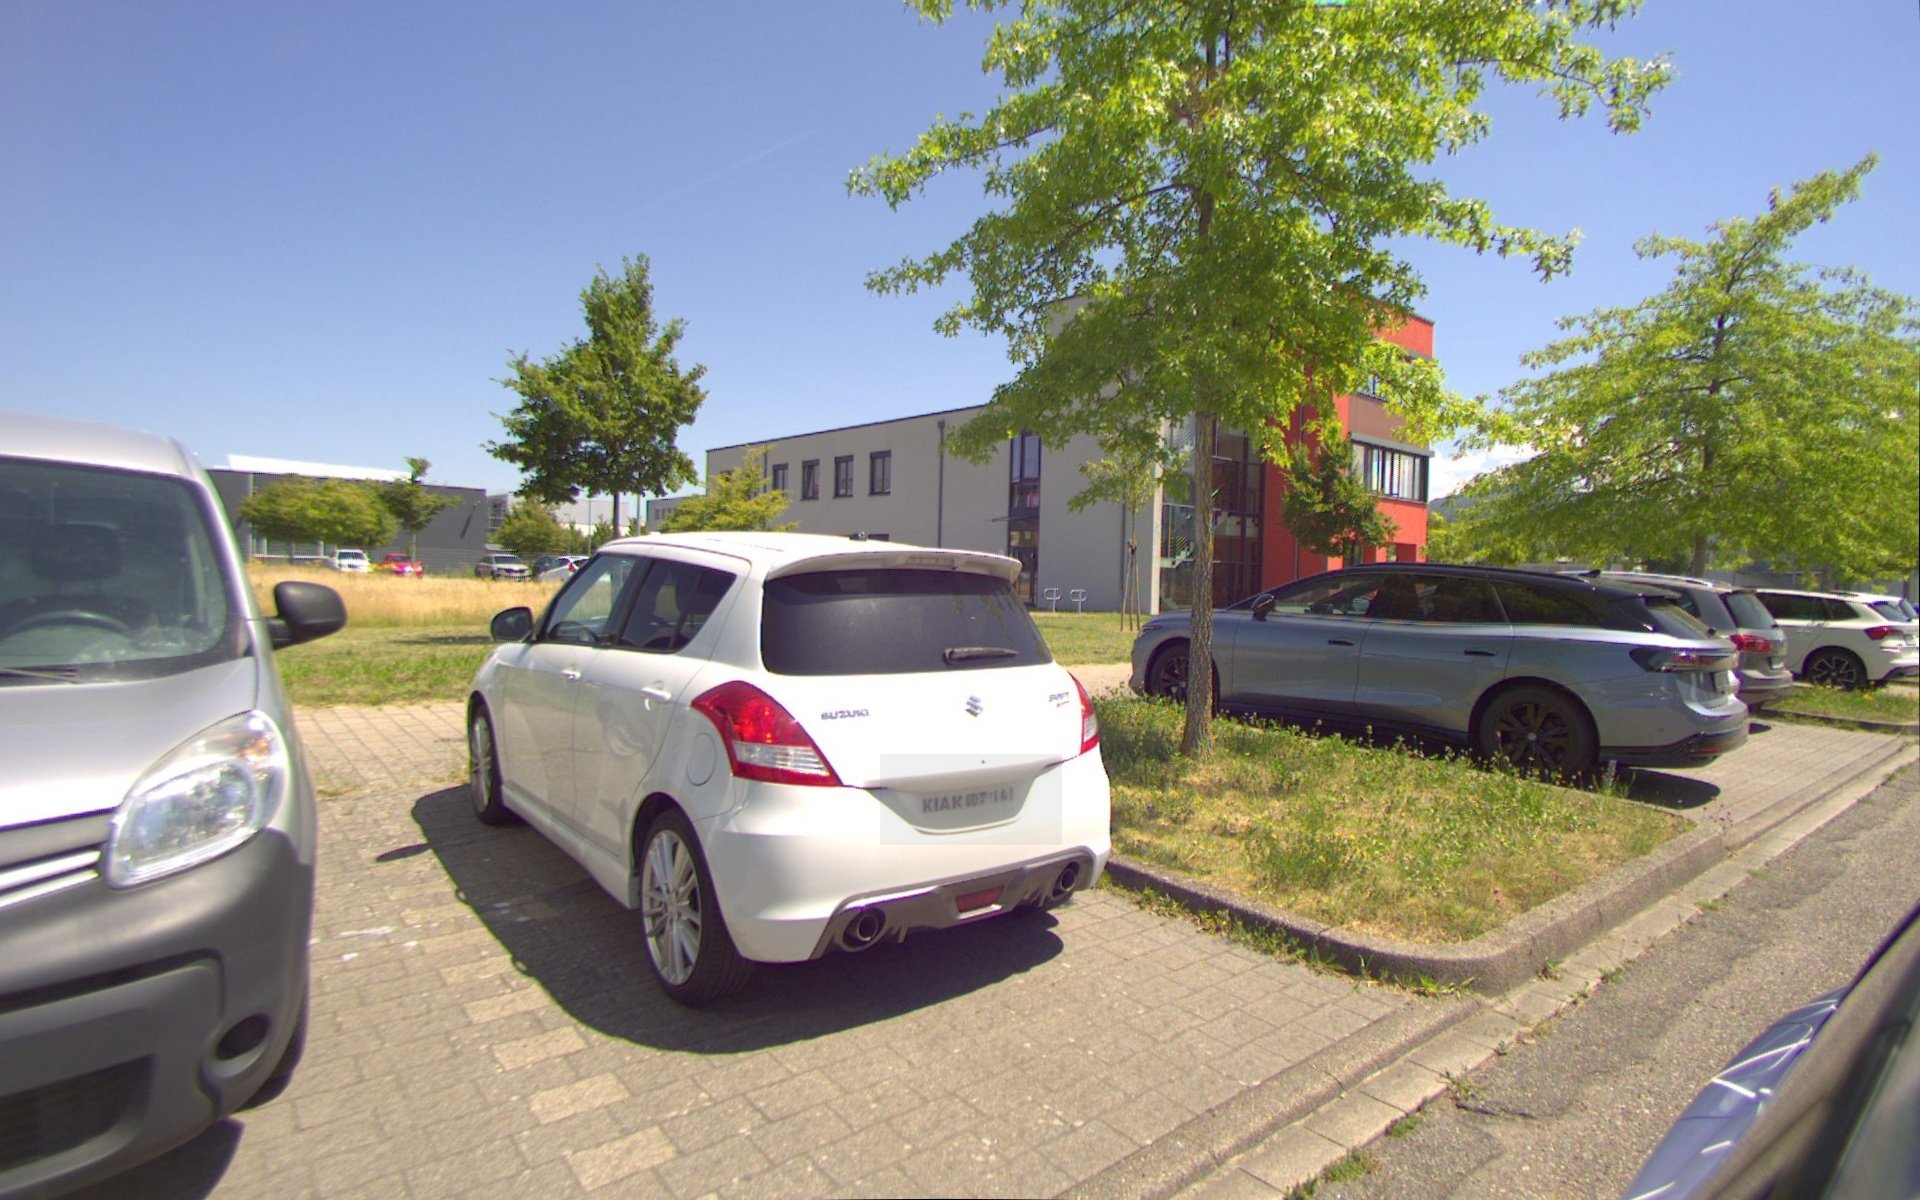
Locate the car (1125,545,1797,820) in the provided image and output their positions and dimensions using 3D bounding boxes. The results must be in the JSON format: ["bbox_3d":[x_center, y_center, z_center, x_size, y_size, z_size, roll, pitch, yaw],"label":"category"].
[{"bbox_3d":[3.892,0.413,8.602,1.881,1.579,4.723,0,4,-43],"label":"car"}]

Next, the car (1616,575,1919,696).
[{"bbox_3d":[12.980,0.470,16.090,1.745,1.572,3.849,2,2,-35],"label":"car"}]

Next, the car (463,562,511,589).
[{"bbox_3d":[-28.637,-1.511,61.235,1.688,1.528,3.997,0,2,-40],"label":"car"}]

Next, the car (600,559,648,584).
[{"bbox_3d":[-22.321,-1.873,67.089,1.688,1.528,3.997,0,2,-40],"label":"car"}]

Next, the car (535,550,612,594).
[{"bbox_3d":[-14.258,-1.041,37.271,1.688,1.528,3.331,0,2,-40],"label":"car"}]

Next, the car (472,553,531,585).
[{"bbox_3d":[-23.415,-1.583,51.662,1.689,1.528,3.995,0,2,-41],"label":"car"}]

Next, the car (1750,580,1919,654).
[{"bbox_3d":[22.433,0.423,25.153,1.695,1.508,4.011,1,4,-36],"label":"car"}]

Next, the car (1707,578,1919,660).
[{"bbox_3d":[20.572,0.392,24.097,1.741,1.670,4.122,1,2,-38],"label":"car"}]

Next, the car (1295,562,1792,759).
[{"bbox_3d":[5.709,0.438,10.366,1.616,1.470,4.058,0,4,-39],"label":"car"}]

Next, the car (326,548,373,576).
[{"bbox_3d":[-34.094,-2.119,56.472,1.688,1.470,3.997,0,2,-40],"label":"car"}]

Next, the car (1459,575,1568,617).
[{"bbox_3d":[25.449,-0.200,46.615,1.778,1.797,3.995,3,-1,-40],"label":"car"}]

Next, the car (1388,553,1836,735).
[{"bbox_3d":[7.426,0.355,11.894,1.663,1.644,4.058,0,3,-39],"label":"car"}]

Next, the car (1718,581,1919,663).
[{"bbox_3d":[18.907,0.432,21.943,1.581,1.481,3.629,1,3,-38],"label":"car"}]

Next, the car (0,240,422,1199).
[{"bbox_3d":[-3.118,0.223,3.152,1.763,1.852,4.416,0,4,-39],"label":"car"}]

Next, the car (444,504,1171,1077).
[{"bbox_3d":[-1.029,0.387,4.608,1.646,1.521,3.642,0,4,-39],"label":"car"}]

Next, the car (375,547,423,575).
[{"bbox_3d":[-32.289,-2.240,58.186,1.688,1.528,3.997,0,2,-40],"label":"car"}]
